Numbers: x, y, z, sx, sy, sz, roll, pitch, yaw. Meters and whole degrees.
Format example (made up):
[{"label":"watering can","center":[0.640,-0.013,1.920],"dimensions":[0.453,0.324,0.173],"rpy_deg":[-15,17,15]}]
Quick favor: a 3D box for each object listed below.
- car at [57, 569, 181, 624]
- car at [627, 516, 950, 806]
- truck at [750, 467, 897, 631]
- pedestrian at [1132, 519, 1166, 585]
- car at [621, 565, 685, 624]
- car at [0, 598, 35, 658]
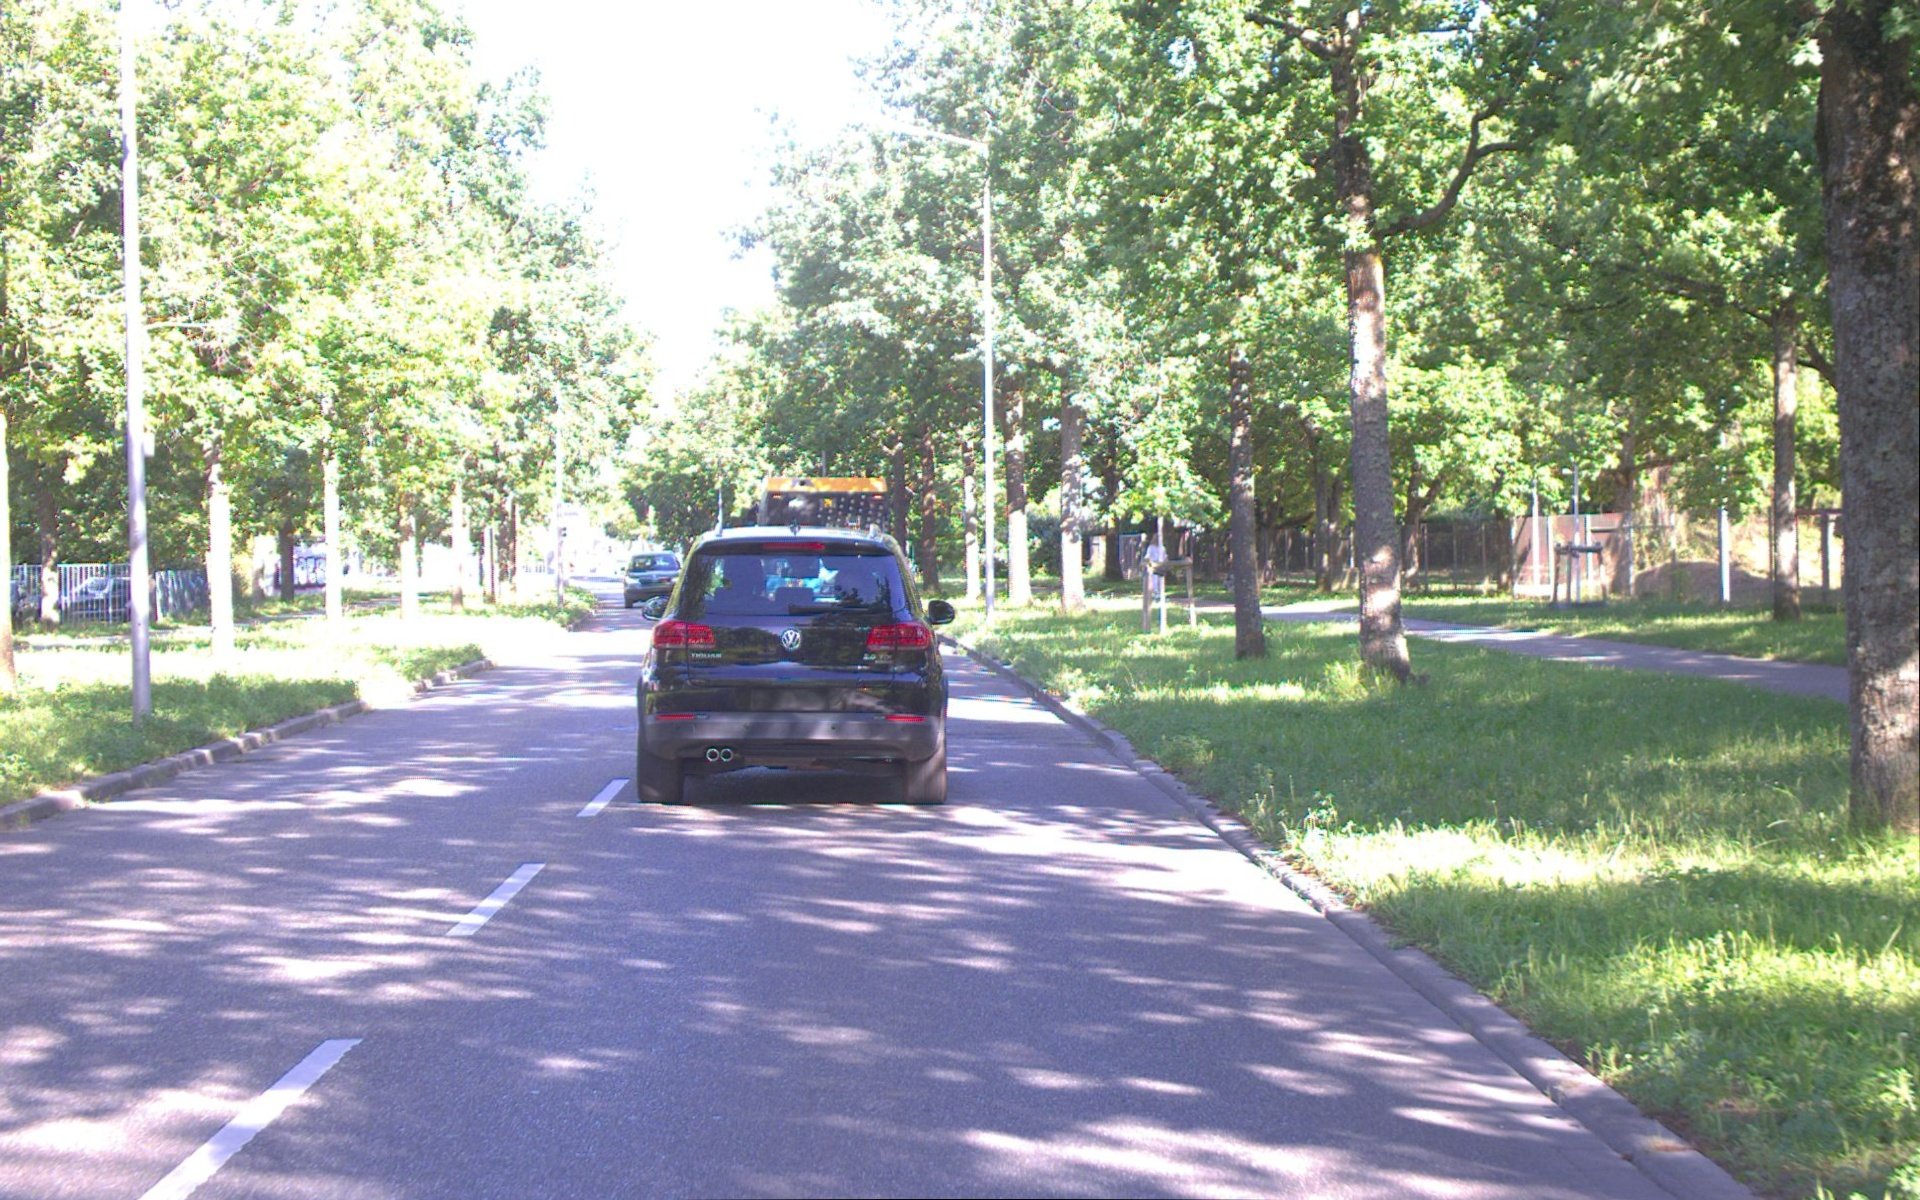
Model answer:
[{"label":"car","center":[-28.437,-0.125,116.311],"dimensions":[3.986,1.795,2.001],"rpy_deg":[1,0,-12]},{"label":"car","center":[-1.163,0.334,21.576],"dimensions":[1.782,1.628,4.001],"rpy_deg":[1,0,-6]},{"label":"truck","center":[-2.959,-1.064,72.549],"dimensions":[2.511,3.232,8.154],"rpy_deg":[-1,1,-6]},{"label":"pedestrian","center":[4.791,-1.211,87.203],"dimensions":[0.608,1.625,0.719],"rpy_deg":[-3,1,-14]},{"label":"car","center":[-9.172,-0.171,103.022],"dimensions":[1.767,1.666,4.200],"rpy_deg":[-2,0,-4]},{"label":"car","center":[-27.482,0.753,96.716],"dimensions":[1.993,1.592,5.016],"rpy_deg":[1,0,-5]}]
